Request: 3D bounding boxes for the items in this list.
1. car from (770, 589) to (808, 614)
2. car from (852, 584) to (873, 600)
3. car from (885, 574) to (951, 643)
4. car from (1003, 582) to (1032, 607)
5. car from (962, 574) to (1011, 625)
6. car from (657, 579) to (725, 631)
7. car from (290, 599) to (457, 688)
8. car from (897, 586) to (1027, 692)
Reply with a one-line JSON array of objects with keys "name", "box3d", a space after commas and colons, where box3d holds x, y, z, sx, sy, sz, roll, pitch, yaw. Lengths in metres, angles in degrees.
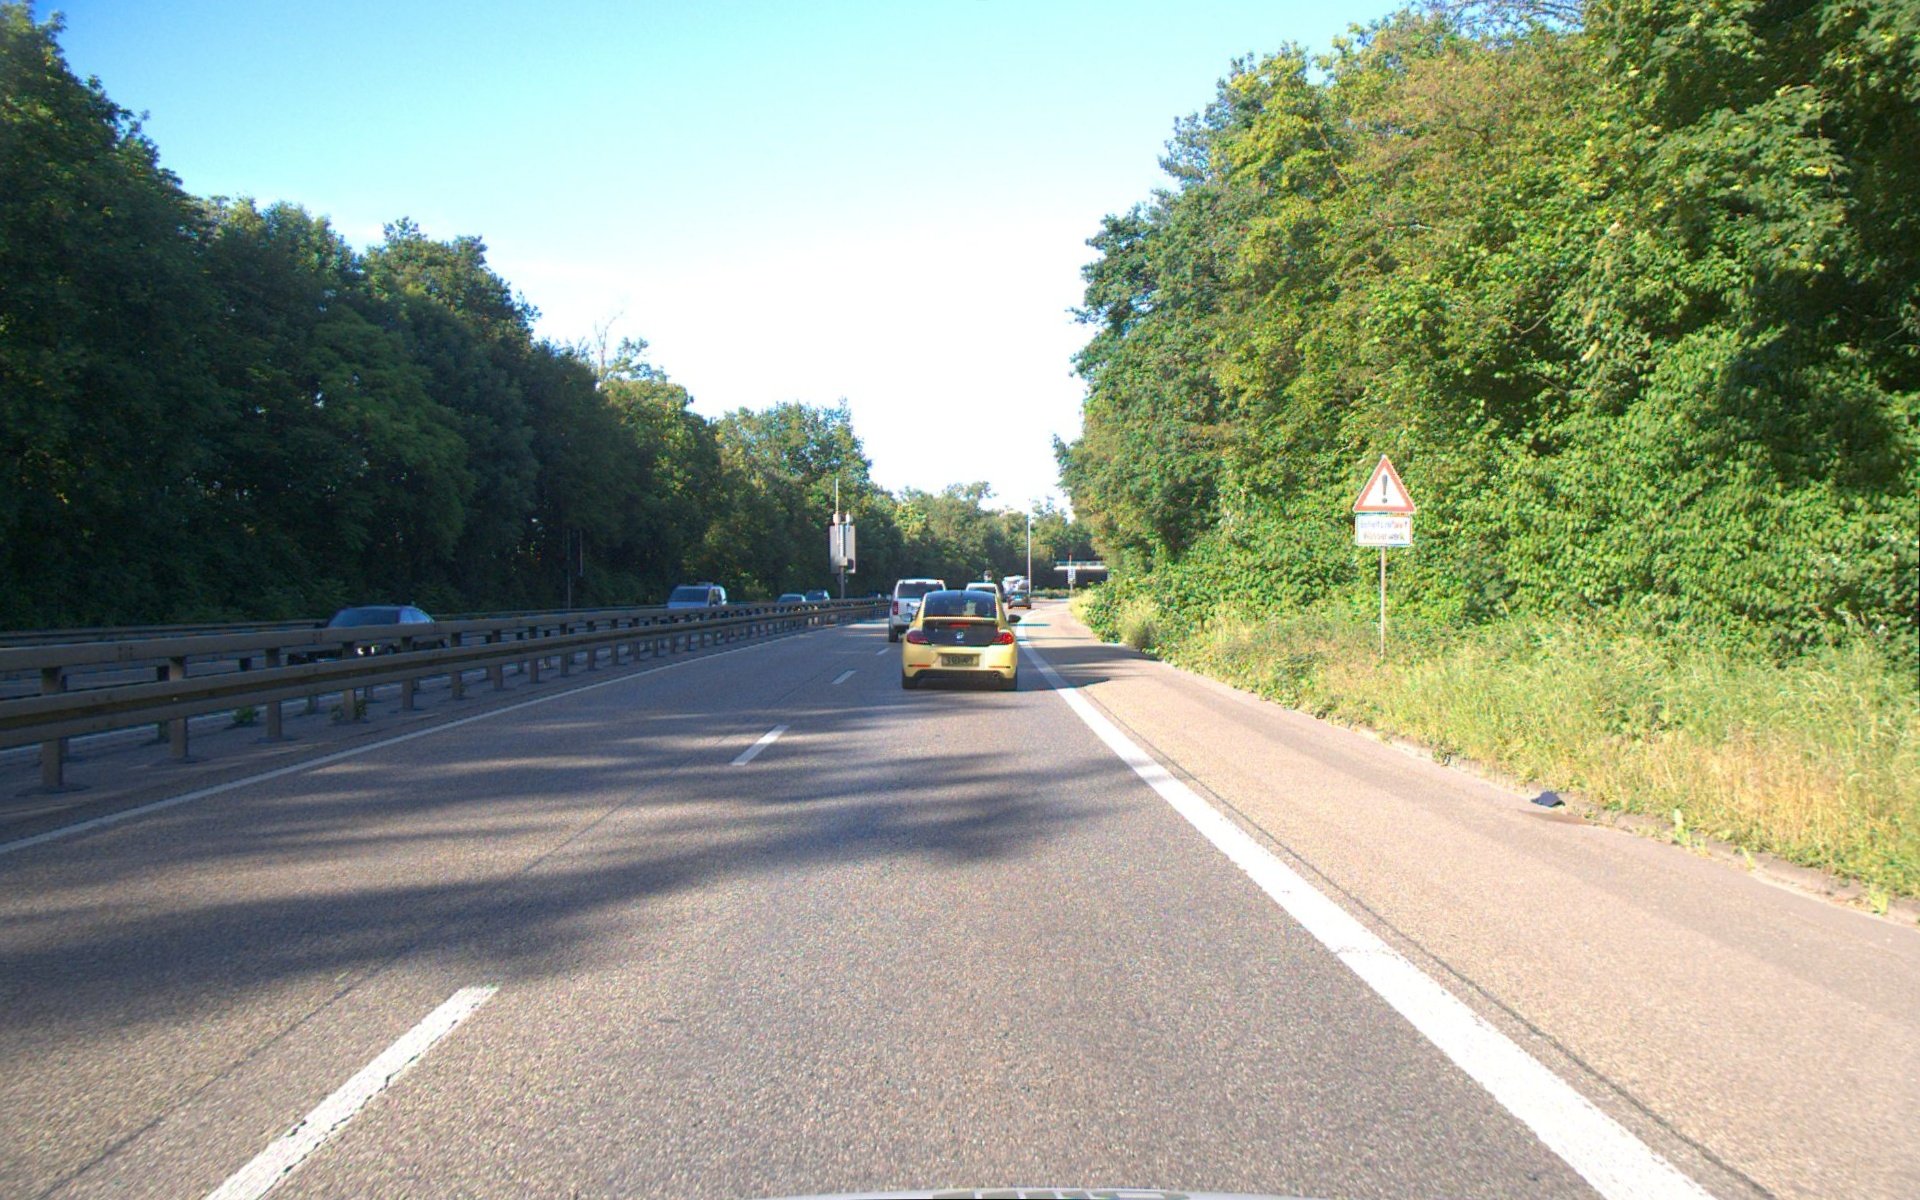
[{"name": "car", "box3d": [-9.871, 0.092, 95.610, 1.564, 1.337, 3.911, -2, 1, 3]}, {"name": "car", "box3d": [-9.400, -0.760, 159.917, 1.564, 1.506, 3.911, -1, 1, 3]}, {"name": "car", "box3d": [-1.175, 0.217, 47.498, 1.705, 1.862, 3.423, 1, 1, 1]}, {"name": "car", "box3d": [4.592, -0.435, 131.802, 2.216, 1.908, 5.078, 1, 1, 2]}, {"name": "car", "box3d": [1.118, -0.050, 71.670, 1.953, 2.048, 4.000, -2, 1, 0]}, {"name": "car", "box3d": [-10.948, 0.170, 67.595, 1.849, 1.936, 5.415, -2, 1, 0]}, {"name": "car", "box3d": [-11.109, 0.772, 31.641, 1.565, 1.478, 4.345, -2, 1, 0]}, {"name": "car", "box3d": [0.008, 0.551, 25.867, 1.900, 1.534, 3.422, 0, 1, -1]}]
